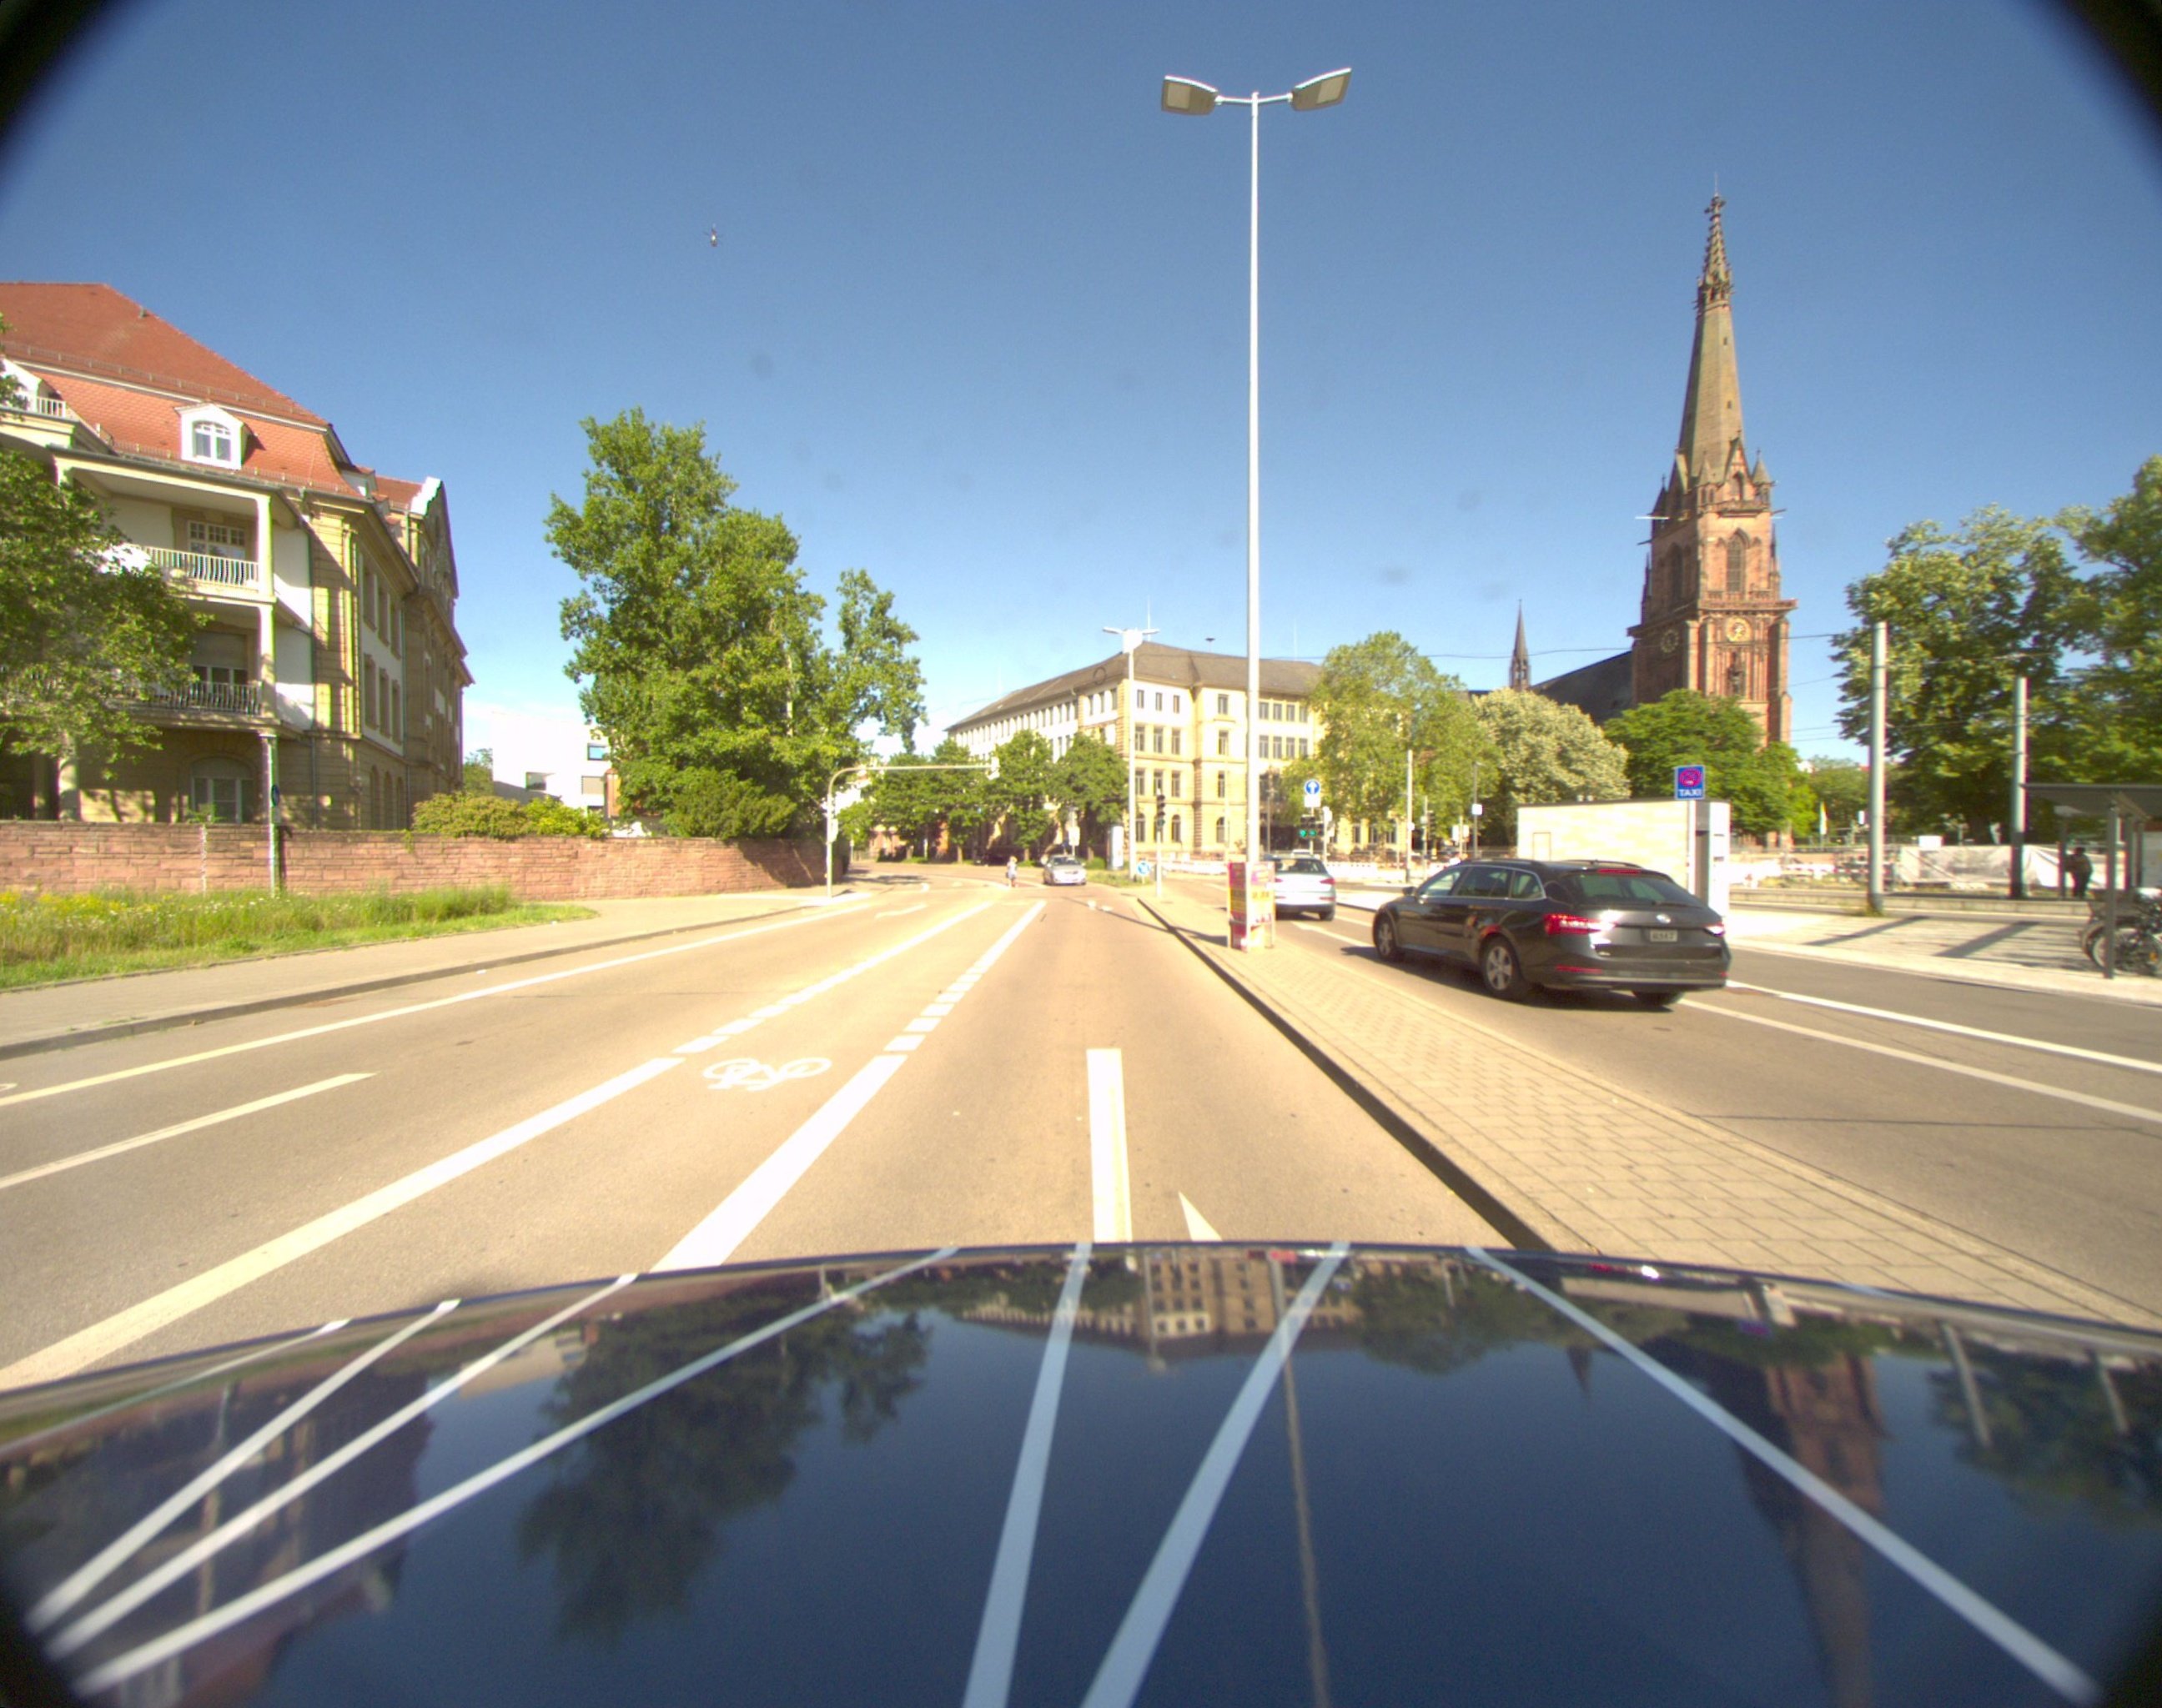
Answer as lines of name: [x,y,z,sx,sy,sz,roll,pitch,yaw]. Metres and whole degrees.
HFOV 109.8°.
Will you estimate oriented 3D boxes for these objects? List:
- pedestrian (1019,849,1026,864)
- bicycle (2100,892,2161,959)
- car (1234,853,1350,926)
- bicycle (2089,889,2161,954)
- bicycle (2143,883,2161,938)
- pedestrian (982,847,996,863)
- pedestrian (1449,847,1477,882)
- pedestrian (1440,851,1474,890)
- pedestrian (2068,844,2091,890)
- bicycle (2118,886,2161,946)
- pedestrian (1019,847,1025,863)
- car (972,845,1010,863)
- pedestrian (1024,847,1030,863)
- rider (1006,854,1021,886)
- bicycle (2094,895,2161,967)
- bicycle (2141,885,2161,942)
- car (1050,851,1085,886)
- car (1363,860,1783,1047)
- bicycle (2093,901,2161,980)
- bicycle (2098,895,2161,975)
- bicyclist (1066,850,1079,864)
pedestrian: [-6.761,0.277,88.166,0.677,1.714,0.588,-1,2,-22]
bicycle: [17.252,1.145,11.656,0.458,1.003,1.899,-1,1,-33]
car: [5.028,0.761,18.707,1.859,1.533,4.241,1,1,3]
bicycle: [17.906,1.125,12.430,0.458,1.003,1.667,-1,1,-33]
bicycle: [20.480,1.061,13.612,0.458,1.003,1.667,-1,1,-33]
pedestrian: [-10.741,0.089,88.654,0.934,1.812,1.394,1,1,45]
pedestrian: [19.039,0.514,37.859,0.977,1.769,0.803,0,1,-1]
pedestrian: [17.228,0.748,34.820,0.977,1.769,1.131,0,1,-1]
pedestrian: [37.562,0.496,28.581,0.404,1.711,0.419,1,1,38]
bicycle: [19.119,1.096,12.950,0.458,1.003,1.667,-1,1,-33]
pedestrian: [-6.840,0.134,87.929,0.522,1.882,0.360,-1,1,-33]
car: [-10.741,-0.036,90.761,1.994,2.002,4.721,0,1,32]
pedestrian: [-6.250,0.111,88.321,0.522,1.865,0.360,-1,1,-33]
rider: [-3.496,0.812,39.671,0.658,1.610,0.989,-1,1,1]
bicycle: [16.065,1.151,10.978,0.458,1.003,1.667,-1,1,-33]
bicycle: [19.886,1.073,13.202,0.458,1.003,1.667,-1,1,-33]
car: [-0.693,0.702,39.696,1.706,1.657,3.913,-1,1,-1]
car: [5.053,0.872,8.776,1.793,1.490,4.574,1,1,-1]
bicycle: [14.692,1.169,9.967,0.458,1.003,1.667,-1,1,-33]
bicycle: [15.193,1.130,10.282,0.458,1.055,1.667,-1,1,-33]
bicyclist: [-0.784,0.277,70.796,0.893,1.377,0.735,1,1,44]
